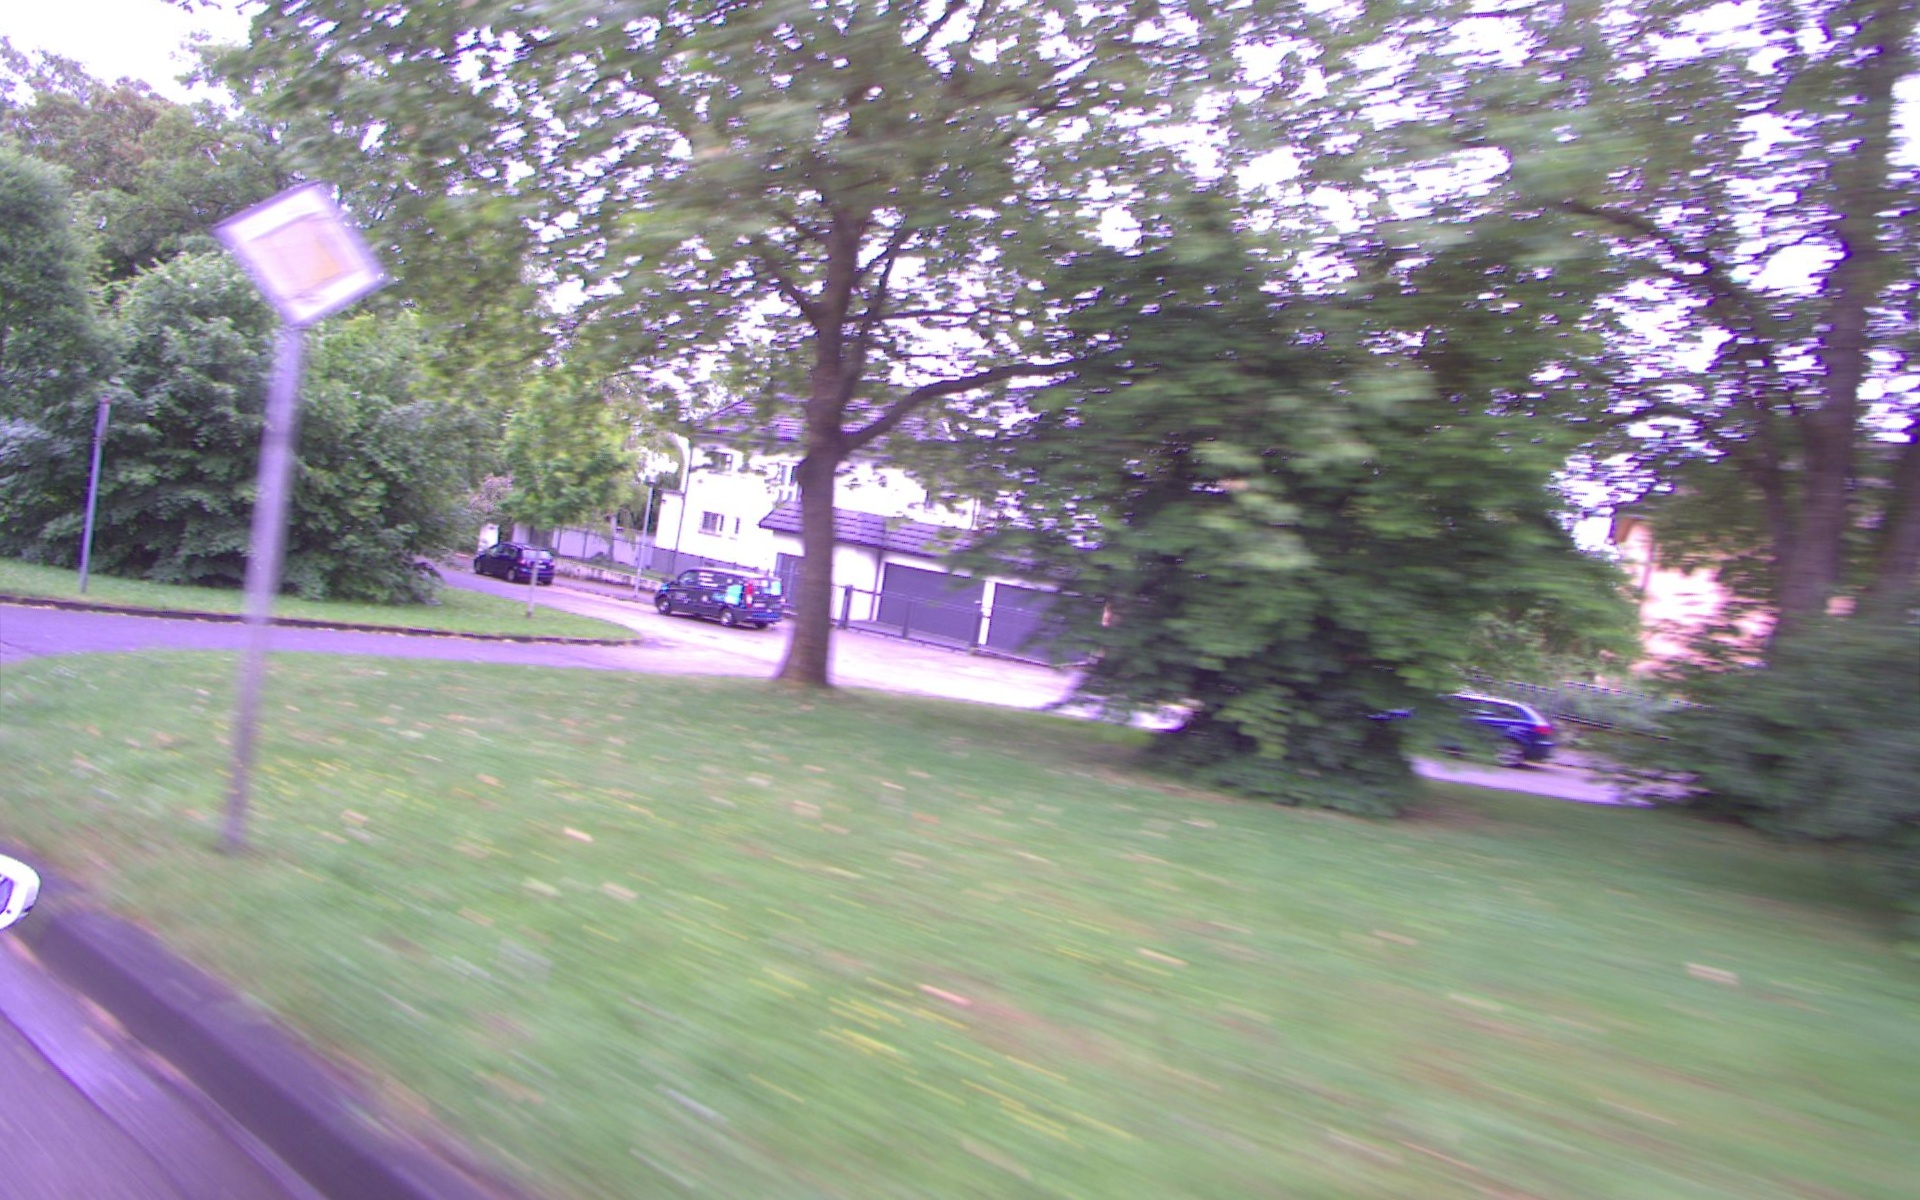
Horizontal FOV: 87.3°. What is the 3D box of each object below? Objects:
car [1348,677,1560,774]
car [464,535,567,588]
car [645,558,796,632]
[{"bbox_3d":[10.974,2.724,22.455,3.997,1.499,1.644,5,1,33],"label":"car"},{"bbox_3d":[-18.399,-1.588,41.613,3.968,1.645,1.903,8,2,33],"label":"car"},{"bbox_3d":[-8.446,-0.194,35.312,4.986,1.903,2.160,8,2,33],"label":"car"}]
